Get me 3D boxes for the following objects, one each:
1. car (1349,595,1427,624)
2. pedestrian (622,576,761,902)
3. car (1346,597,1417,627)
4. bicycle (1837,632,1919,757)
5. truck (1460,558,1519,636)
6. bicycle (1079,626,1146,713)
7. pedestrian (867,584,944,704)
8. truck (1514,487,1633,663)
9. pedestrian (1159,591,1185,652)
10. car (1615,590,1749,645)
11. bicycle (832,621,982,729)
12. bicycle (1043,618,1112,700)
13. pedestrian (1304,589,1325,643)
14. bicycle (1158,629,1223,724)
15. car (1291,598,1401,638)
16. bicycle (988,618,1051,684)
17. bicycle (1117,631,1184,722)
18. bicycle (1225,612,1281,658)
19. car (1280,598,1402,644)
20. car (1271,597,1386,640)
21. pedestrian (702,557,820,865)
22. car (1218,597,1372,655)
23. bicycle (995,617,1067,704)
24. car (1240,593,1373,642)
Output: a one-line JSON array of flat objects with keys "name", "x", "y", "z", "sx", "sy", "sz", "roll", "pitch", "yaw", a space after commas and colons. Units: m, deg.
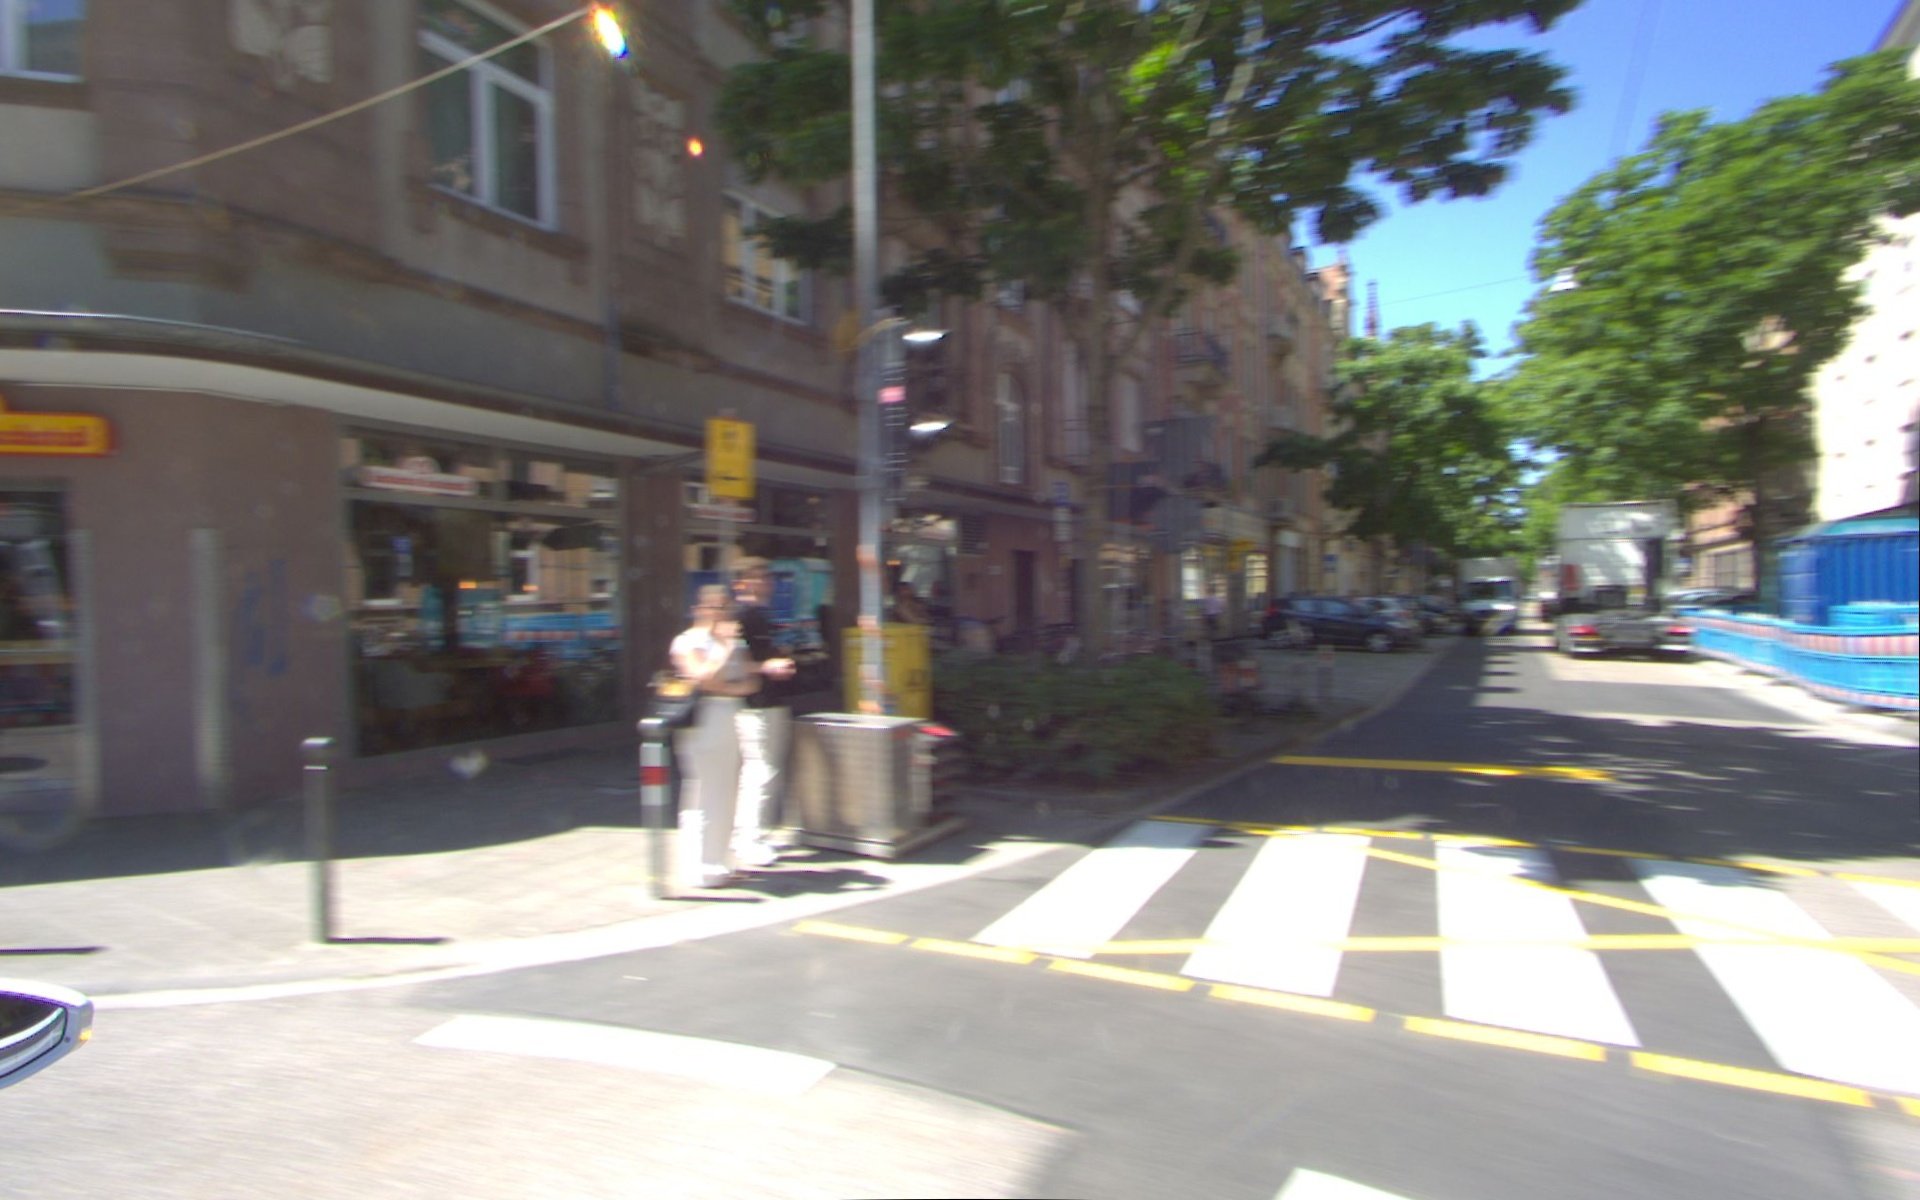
[{"name": "car", "x": 23.278, "y": 0.520, "z": 54.552, "sx": 3.866, "sy": 1.483, "sz": 1.613, "roll": -1, "pitch": 0, "yaw": 24}, {"name": "pedestrian", "x": -1.473, "y": 0.715, "z": 5.549, "sx": 0.415, "sy": 1.669, "sz": 0.702, "roll": 3, "pitch": 4, "yaw": 19}, {"name": "car", "x": 21.819, "y": 0.620, "z": 51.882, "sx": 3.366, "sy": 1.483, "sz": 1.613, "roll": -1, "pitch": 0, "yaw": 24}, {"name": "bicycle", "x": 9.585, "y": 0.918, "z": 10.115, "sx": 0.500, "sy": 1.122, "sz": 1.780, "roll": 0, "pitch": 0, "yaw": 21}, {"name": "truck", "x": 20.729, "y": -0.112, "z": 39.224, "sx": 1.969, "sy": 2.894, "sz": 4.250, "roll": 0, "pitch": 0, "yaw": 28}, {"name": "bicycle", "x": 2.068, "y": 0.897, "z": 13.406, "sx": 0.462, "sy": 1.019, "sz": 1.684, "roll": 2, "pitch": 1, "yaw": 23}, {"name": "pedestrian", "x": -0.768, "y": 0.606, "z": 14.326, "sx": 0.775, "sy": 1.656, "sz": 0.855, "roll": 0, "pitch": 1, "yaw": 26}, {"name": "truck", "x": 15.364, "y": -0.554, "z": 25.314, "sx": 2.253, "sy": 4.007, "sz": 4.458, "roll": 0, "pitch": 1, "yaw": 28}, {"name": "pedestrian", "x": 5.759, "y": 0.588, "z": 27.206, "sx": 0.551, "sy": 1.636, "sz": 0.489, "roll": 0, "pitch": 1, "yaw": 32}, {"name": "car", "x": 25.953, "y": 0.607, "z": 36.139, "sx": 3.737, "sy": 1.896, "sz": 1.763, "roll": -1, "pitch": 0, "yaw": 31}, {"name": "bicycle", "x": -0.597, "y": 0.855, "z": 12.064, "sx": 0.511, "sy": 1.147, "sz": 1.968, "roll": 0, "pitch": 1, "yaw": 44}, {"name": "bicycle", "x": 1.666, "y": 0.789, "z": 14.020, "sx": 0.462, "sy": 1.010, "sz": 1.760, "roll": 2, "pitch": 1, "yaw": 23}, {"name": "pedestrian", "x": 10.676, "y": 0.479, "z": 30.162, "sx": 0.535, "sy": 1.604, "sz": 0.477, "roll": 0, "pitch": 1, "yaw": 25}, {"name": "bicycle", "x": 2.873, "y": 0.905, "z": 12.405, "sx": 0.462, "sy": 1.010, "sz": 1.760, "roll": 2, "pitch": 1, "yaw": 23}, {"name": "car", "x": 14.672, "y": 0.651, "z": 38.031, "sx": 3.790, "sy": 1.458, "sz": 1.787, "roll": 0, "pitch": 1, "yaw": 25}, {"name": "bicycle", "x": 1.019, "y": 0.828, "z": 16.866, "sx": 0.496, "sy": 1.010, "sz": 1.724, "roll": 2, "pitch": 1, "yaw": 23}, {"name": "bicycle", "x": 2.463, "y": 0.938, "z": 12.846, "sx": 0.462, "sy": 1.010, "sz": 1.760, "roll": 2, "pitch": 1, "yaw": 23}, {"name": "bicycle", "x": 7.224, "y": 0.833, "z": 24.787, "sx": 0.534, "sy": 1.060, "sz": 1.936, "roll": -1, "pitch": 1, "yaw": -10}, {"name": "car", "x": 12.951, "y": 0.679, "z": 34.041, "sx": 3.790, "sy": 1.458, "sz": 1.787, "roll": 0, "pitch": 1, "yaw": 25}, {"name": "car", "x": 13.285, "y": 0.616, "z": 36.097, "sx": 3.790, "sy": 1.458, "sz": 1.787, "roll": 0, "pitch": 1, "yaw": 25}, {"name": "pedestrian", "x": -1.219, "y": 0.641, "z": 6.169, "sx": 0.463, "sy": 1.794, "sz": 0.575, "roll": 3, "pitch": 4, "yaw": 19}, {"name": "car", "x": 9.102, "y": 0.661, "z": 27.213, "sx": 3.790, "sy": 1.458, "sz": 1.787, "roll": 0, "pitch": 1, "yaw": 25}, {"name": "bicycle", "x": 1.036, "y": 0.820, "z": 14.231, "sx": 0.462, "sy": 1.095, "sz": 1.760, "roll": 2, "pitch": 1, "yaw": 23}, {"name": "car", "x": 10.943, "y": 0.512, "z": 31.619, "sx": 3.790, "sy": 1.458, "sz": 1.787, "roll": 0, "pitch": 1, "yaw": 25}]
